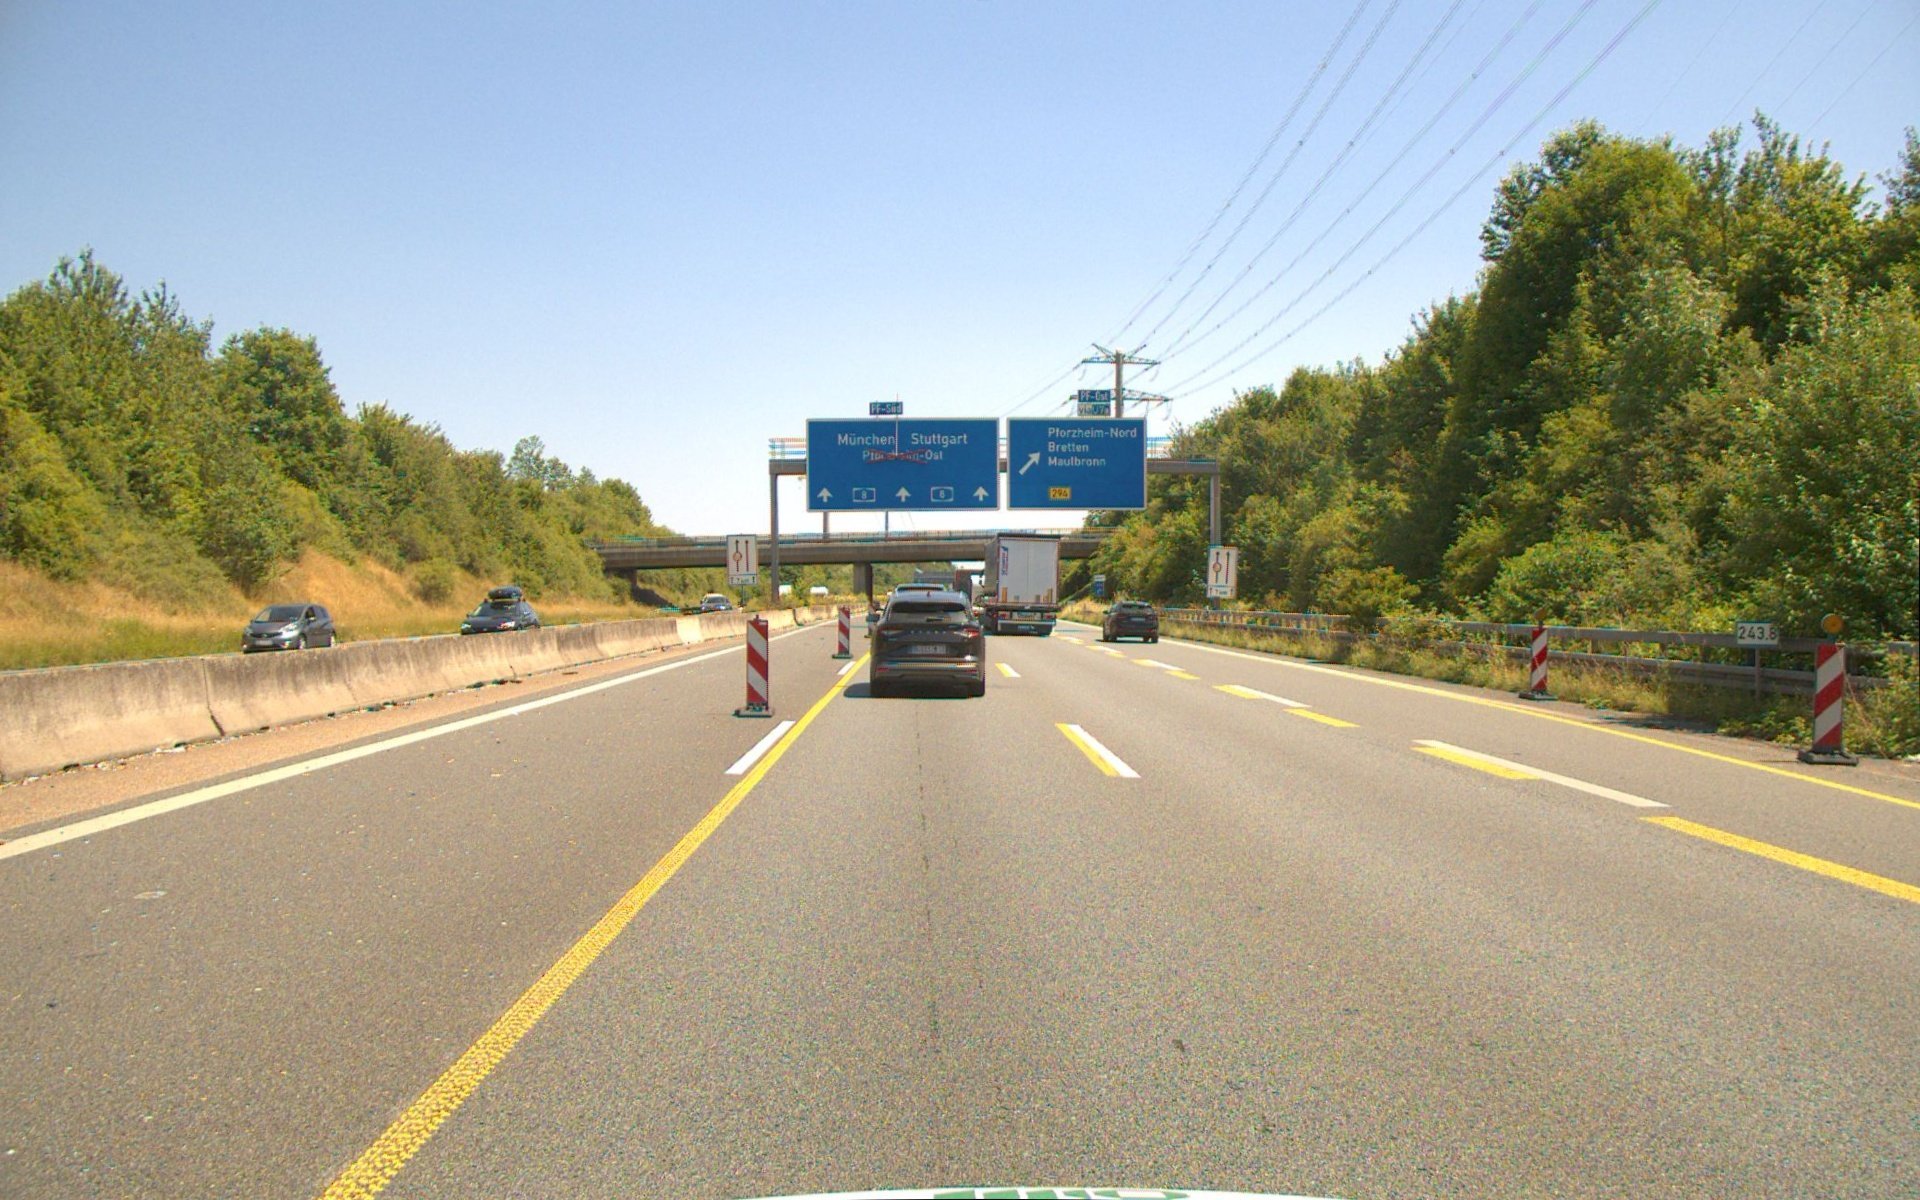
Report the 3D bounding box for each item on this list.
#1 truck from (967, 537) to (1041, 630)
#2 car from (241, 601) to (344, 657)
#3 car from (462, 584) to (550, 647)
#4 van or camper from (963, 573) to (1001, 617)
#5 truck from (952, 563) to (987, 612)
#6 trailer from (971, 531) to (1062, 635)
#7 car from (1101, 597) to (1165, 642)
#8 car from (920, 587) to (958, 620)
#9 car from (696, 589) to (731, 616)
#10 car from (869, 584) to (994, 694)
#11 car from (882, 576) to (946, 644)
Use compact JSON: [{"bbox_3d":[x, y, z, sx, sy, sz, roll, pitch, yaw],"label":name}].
[{"bbox_3d":[1.990,-0.777,78.276,2.964,4.158,7.791,1,0,-3],"label":"truck"},{"bbox_3d":[-19.885,0.824,49.426,1.469,1.575,3.999,-1,0,-1],"label":"car"},{"bbox_3d":[-14.174,0.452,51.850,1.707,1.850,4.620,-1,0,-3],"label":"car"},{"bbox_3d":[1.495,-0.363,116.046,2.533,3.020,6.084,0,0,0],"label":"van or camper"},{"bbox_3d":[0.805,-1.129,152.685,3.015,4.219,13.053,1,0,0],"label":"truck"},{"bbox_3d":[2.278,-0.717,71.477,3.004,4.113,11.481,0,0,-3],"label":"trailer"},{"bbox_3d":[6.293,0.690,60.698,1.743,1.515,4.462,1,0,-2],"label":"car"},{"bbox_3d":[-1.133,0.154,87.921,1.857,1.535,4.441,3,2,-2],"label":"car"},{"bbox_3d":[-17.622,0.173,118.235,1.874,1.784,4.564,1,0,-2],"label":"car"},{"bbox_3d":[-0.508,0.565,26.938,1.857,1.620,4.441,0,1,-2],"label":"car"},{"bbox_3d":[-1.473,0.271,52.475,1.858,1.873,4.442,3,2,-2],"label":"car"}]
